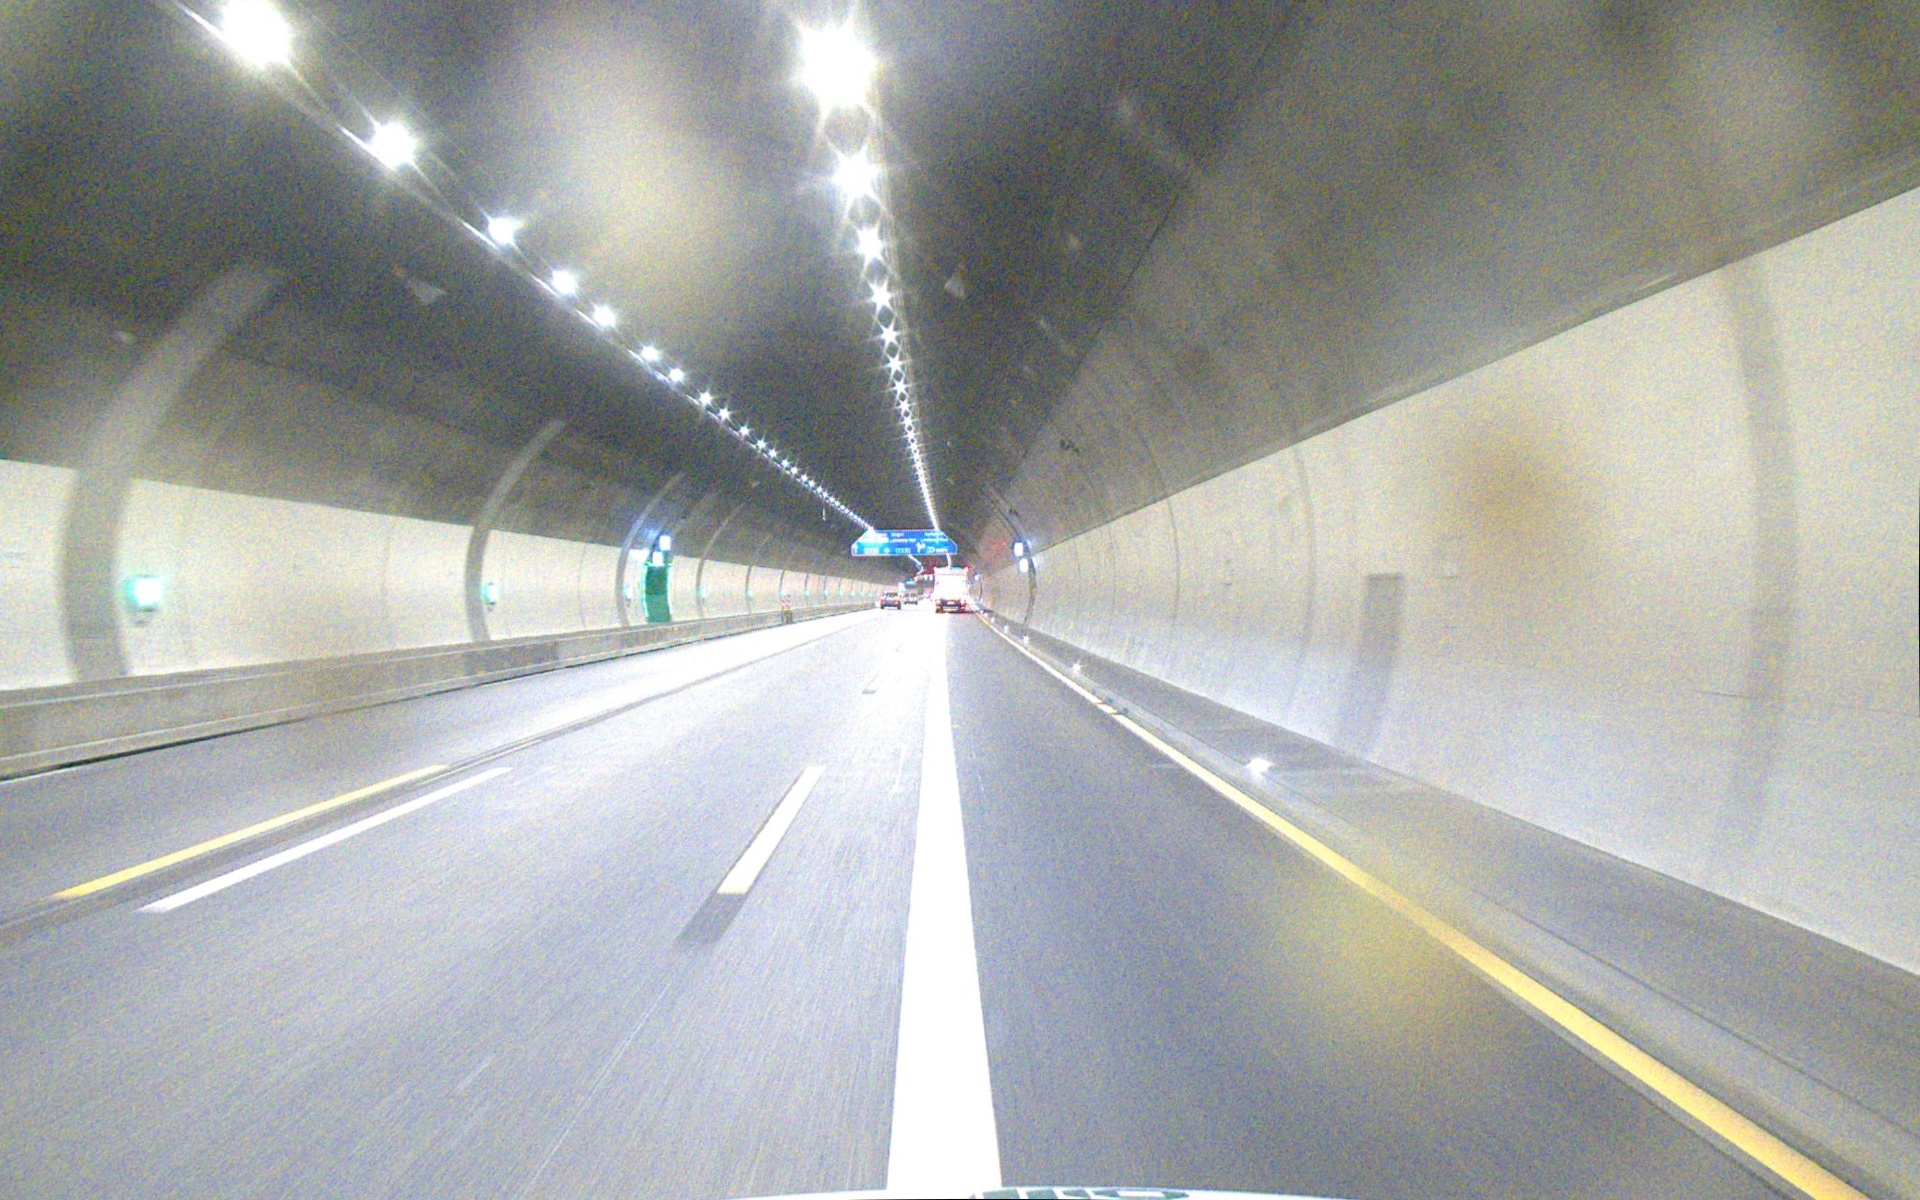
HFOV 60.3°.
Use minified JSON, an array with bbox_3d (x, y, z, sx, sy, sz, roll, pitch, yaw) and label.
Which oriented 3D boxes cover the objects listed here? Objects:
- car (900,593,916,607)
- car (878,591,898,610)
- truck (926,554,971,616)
[{"bbox_3d":[-6.546,0.012,208.060,1.777,1.546,3.998,1,2,-4],"label":"car"},{"bbox_3d":[-6.599,0.032,152.227,1.776,1.646,3.998,1,1,-3],"label":"car"},{"bbox_3d":[-1.072,-1.182,135.541,3.212,4.731,17.280,-1,0,-2],"label":"truck"}]
